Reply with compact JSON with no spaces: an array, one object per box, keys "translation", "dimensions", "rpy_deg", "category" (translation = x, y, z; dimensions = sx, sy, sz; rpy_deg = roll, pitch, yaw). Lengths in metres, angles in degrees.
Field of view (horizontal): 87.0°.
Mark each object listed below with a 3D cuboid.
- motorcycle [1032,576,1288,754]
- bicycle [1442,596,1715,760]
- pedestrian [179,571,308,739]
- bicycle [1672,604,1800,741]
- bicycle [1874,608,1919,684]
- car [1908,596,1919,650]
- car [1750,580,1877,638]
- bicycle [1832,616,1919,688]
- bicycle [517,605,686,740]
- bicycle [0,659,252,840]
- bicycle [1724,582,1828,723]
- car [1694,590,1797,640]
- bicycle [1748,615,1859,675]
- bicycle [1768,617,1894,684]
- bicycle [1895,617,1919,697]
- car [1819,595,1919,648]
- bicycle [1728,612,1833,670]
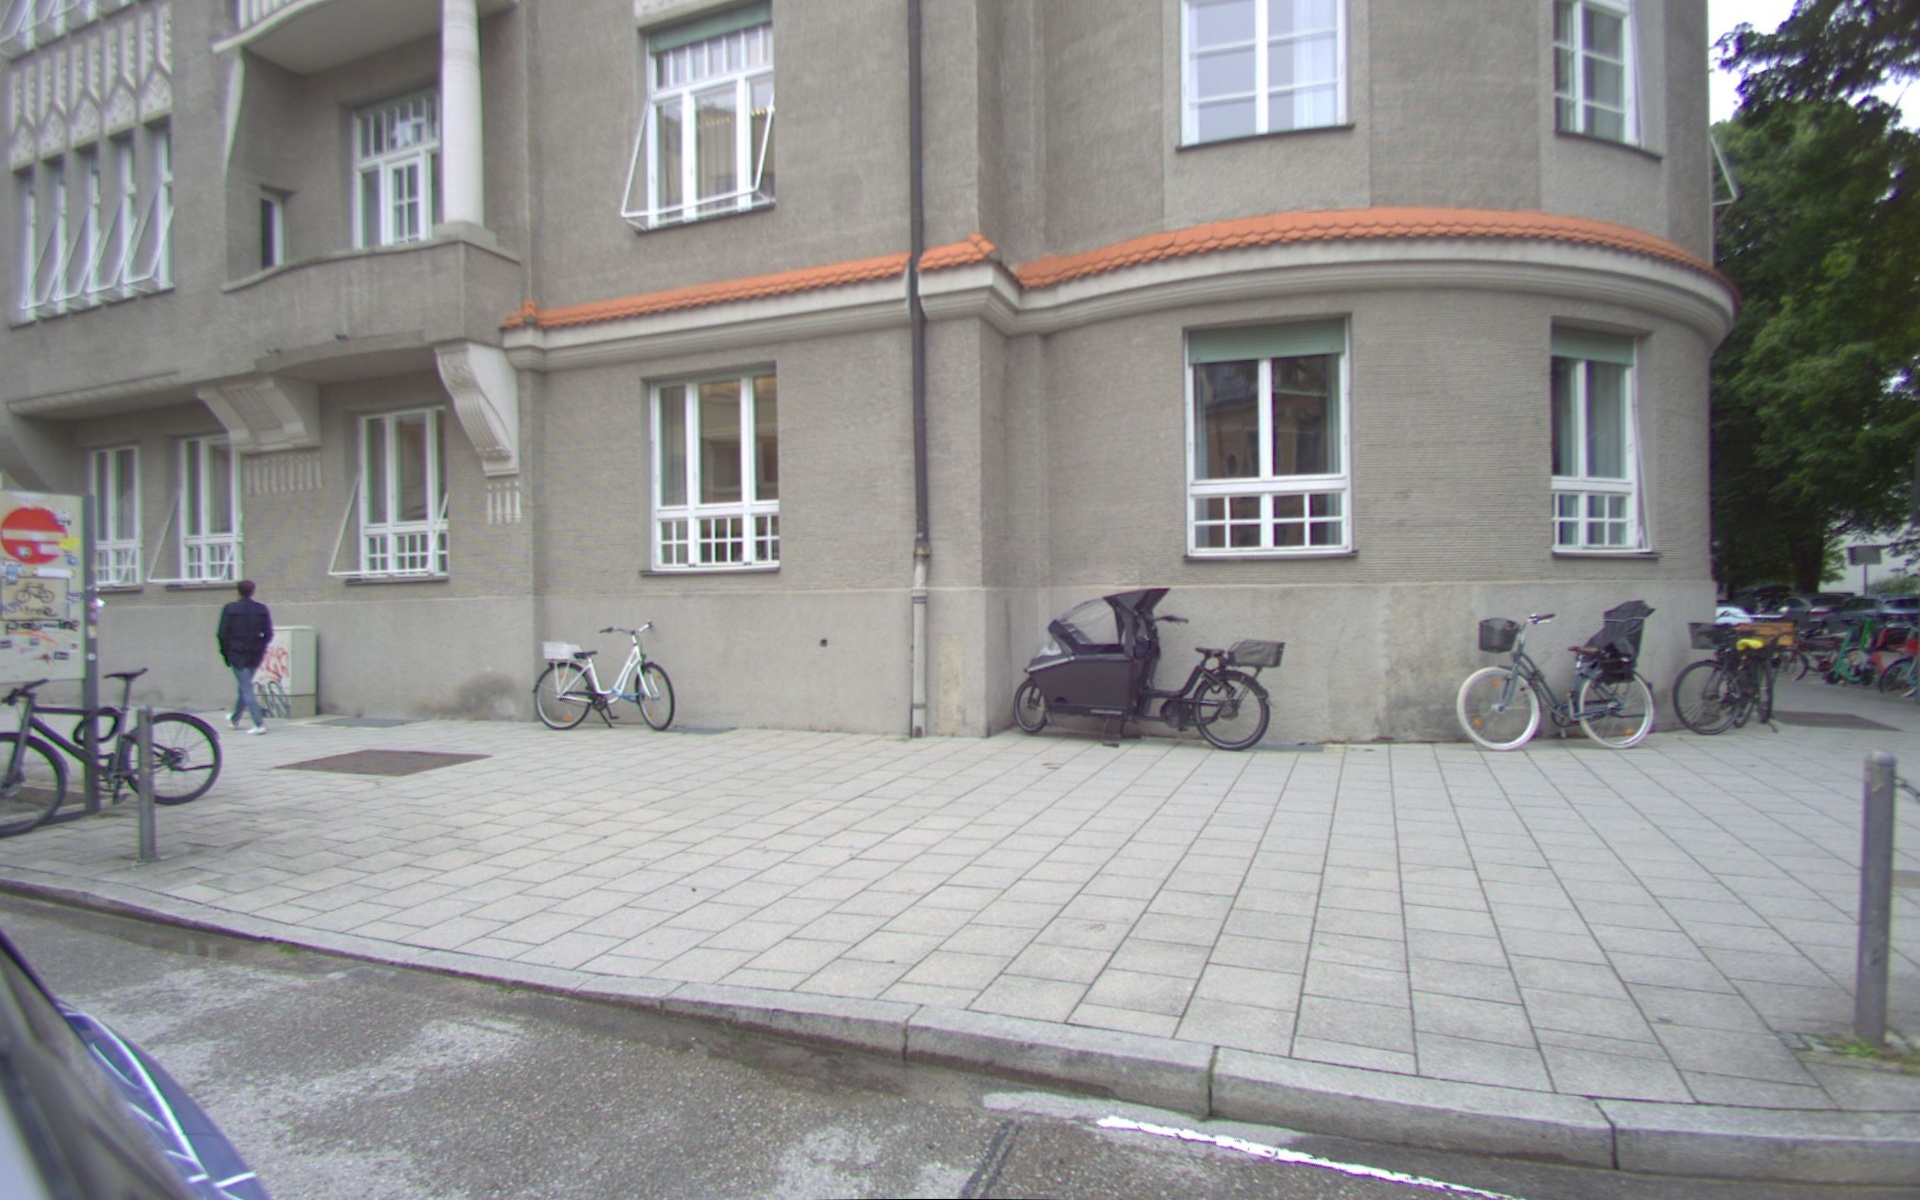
[{"translation":[1.776,0.546,9.030],"dimensions":[2.132,1.451,0.733],"rpy_deg":[-1,0,22],"category":"motorcycle"},{"translation":[5.189,0.620,8.544],"dimensions":[1.896,1.265,0.739],"rpy_deg":[-1,0,-7],"category":"bicycle"},{"translation":[-8.057,0.590,11.393],"dimensions":[0.931,1.800,0.834],"rpy_deg":[-1,0,26],"category":"pedestrian"},{"translation":[7.570,0.650,9.839],"dimensions":[1.896,1.165,0.566],"rpy_deg":[-1,3,-41],"category":"bicycle"},{"translation":[15.237,0.704,15.585],"dimensions":[1.682,1.156,0.505],"rpy_deg":[-1,0,39],"category":"bicycle"},{"translation":[25.765,0.578,24.947],"dimensions":[1.763,1.443,4.488],"rpy_deg":[-1,-1,19],"category":"car"},{"translation":[29.064,0.299,34.637],"dimensions":[1.763,1.832,4.488],"rpy_deg":[-1,0,19],"category":"car"},{"translation":[15.780,0.862,16.984],"dimensions":[1.682,1.156,0.505],"rpy_deg":[-1,0,39],"category":"bicycle"},{"translation":[-3.815,0.746,10.782],"dimensions":[1.662,1.359,0.617],"rpy_deg":[-1,0,19],"category":"bicycle"},{"translation":[-6.099,0.998,7.146],"dimensions":[0.536,1.022,1.795],"rpy_deg":[-1,1,21],"category":"bicycle"},{"translation":[8.987,0.521,11.207],"dimensions":[0.736,1.424,1.903],"rpy_deg":[-1,0,35],"category":"bicycle"},{"translation":[30.946,0.571,40.027],"dimensions":[1.763,1.849,4.488],"rpy_deg":[-1,-1,19],"category":"car"},{"translation":[16.990,0.898,20.425],"dimensions":[1.682,1.156,0.505],"rpy_deg":[-1,0,39],"category":"bicycle"},{"translation":[15.653,0.889,18.233],"dimensions":[1.682,1.156,0.505],"rpy_deg":[-1,0,39],"category":"bicycle"},{"translation":[14.601,0.824,14.519],"dimensions":[1.682,1.156,0.460],"rpy_deg":[-1,0,39],"category":"bicycle"},{"translation":[27.370,0.586,29.668],"dimensions":[1.763,1.443,4.488],"rpy_deg":[-1,-1,19],"category":"car"},{"translation":[17.206,0.846,21.261],"dimensions":[1.682,1.156,0.505],"rpy_deg":[-1,0,39],"category":"bicycle"}]
